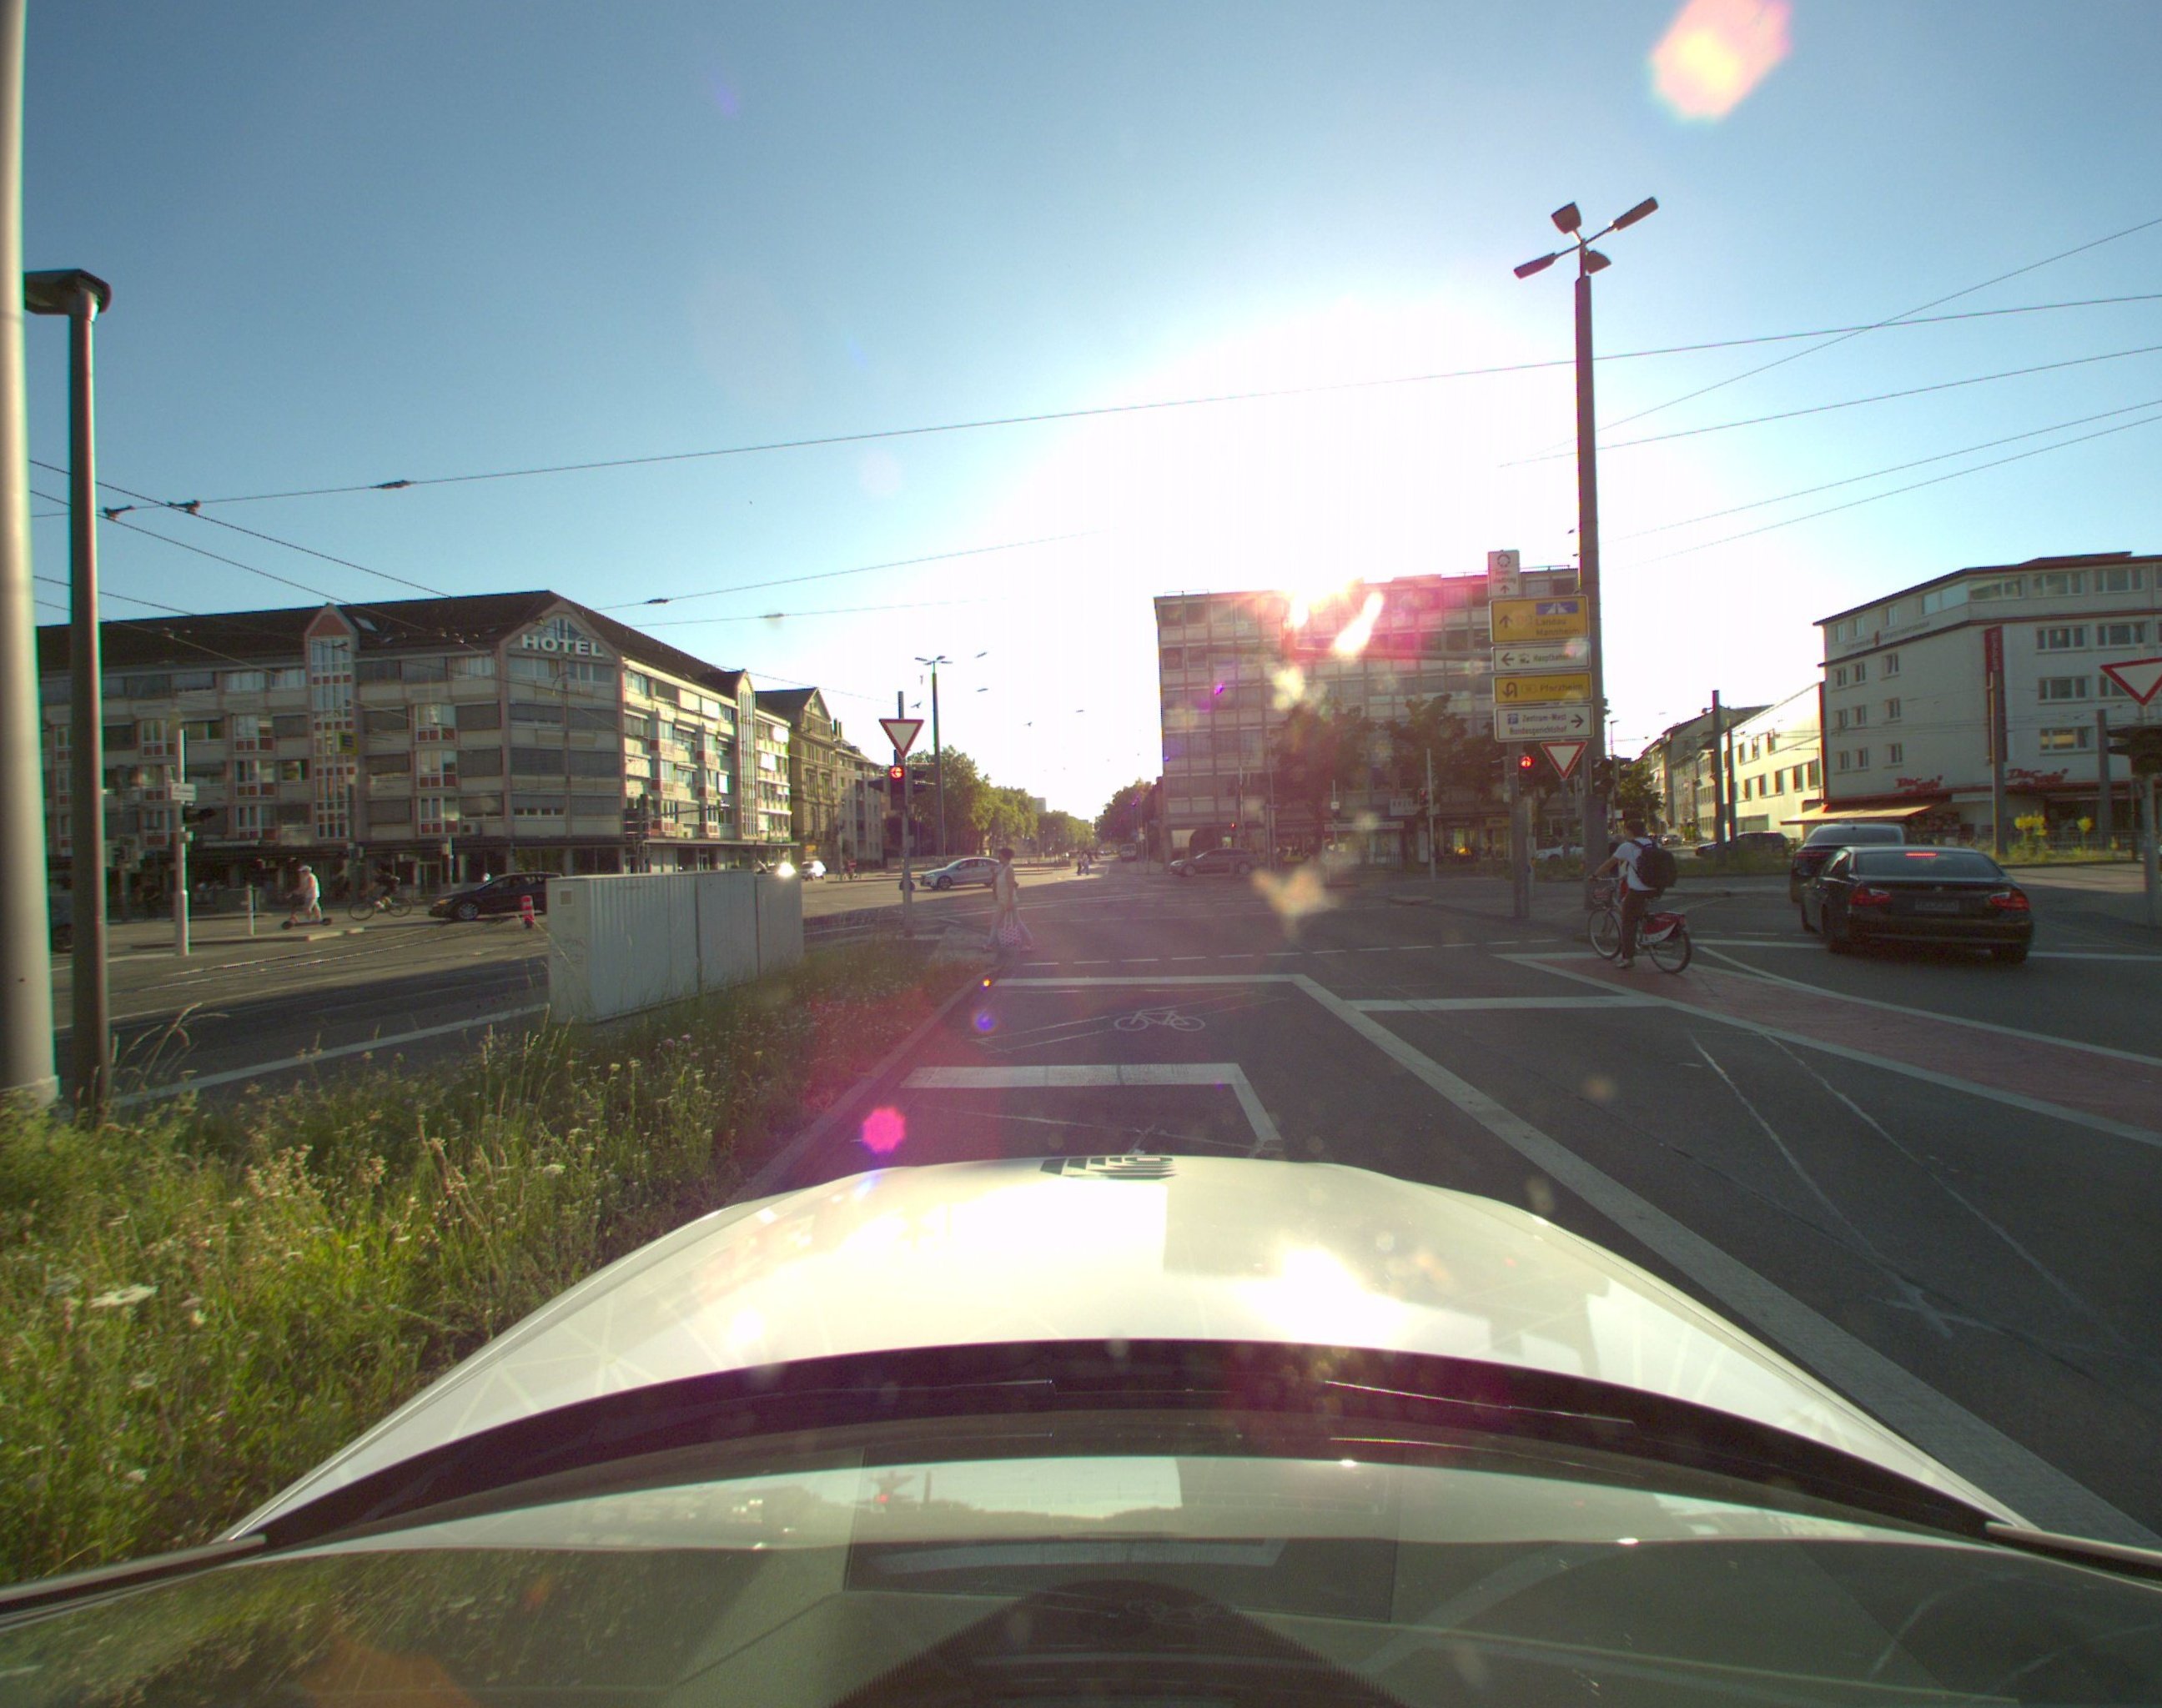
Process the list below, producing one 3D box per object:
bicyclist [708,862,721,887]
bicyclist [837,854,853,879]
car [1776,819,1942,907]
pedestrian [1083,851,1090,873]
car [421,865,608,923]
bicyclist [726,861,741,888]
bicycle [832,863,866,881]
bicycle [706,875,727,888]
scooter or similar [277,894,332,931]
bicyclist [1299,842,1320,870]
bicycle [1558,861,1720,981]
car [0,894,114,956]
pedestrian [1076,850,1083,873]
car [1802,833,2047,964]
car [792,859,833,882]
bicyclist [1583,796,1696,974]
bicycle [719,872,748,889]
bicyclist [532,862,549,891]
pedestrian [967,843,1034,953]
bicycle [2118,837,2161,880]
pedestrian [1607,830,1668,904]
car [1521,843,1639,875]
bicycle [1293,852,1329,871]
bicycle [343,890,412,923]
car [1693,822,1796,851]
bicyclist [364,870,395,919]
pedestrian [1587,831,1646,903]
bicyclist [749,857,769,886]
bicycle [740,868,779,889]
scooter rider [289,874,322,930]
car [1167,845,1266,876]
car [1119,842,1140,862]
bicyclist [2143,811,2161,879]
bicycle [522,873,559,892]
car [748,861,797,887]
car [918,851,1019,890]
[{"bbox_3d":[-27.663,1.563,61.430,0.590,1.862,0.642,-3,0,3],"label":"bicyclist"},{"bbox_3d":[-16.491,0.870,56.950,0.896,1.752,0.650,-3,0,-2],"label":"bicyclist"},{"bbox_3d":[16.975,0.115,17.721,4.018,1.693,1.978,-2,2,-37],"label":"car"},{"bbox_3d":[0.380,0.535,55.800,0.365,1.508,0.542,-2,0,-5],"label":"pedestrian"},{"bbox_3d":[-18.939,1.283,27.401,1.975,1.596,4.809,-3,0,44],"label":"car"},{"bbox_3d":[-26.442,1.580,62.003,0.771,2.013,0.606,-2,0,11],"label":"bicyclist"},{"bbox_3d":[-16.236,1.262,56.965,2.168,1.137,0.658,-3,0,-3],"label":"bicycle"},{"bbox_3d":[-27.491,2.053,61.497,0.596,0.915,1.838,-3,0,4],"label":"bicycle"},{"bbox_3d":[-24.723,1.857,25.929,0.523,1.072,1.183,-3,0,41],"label":"scooter or similar"},{"bbox_3d":[14.104,0.122,50.291,1.037,1.739,0.677,-2,0,-2],"label":"bicyclist"},{"bbox_3d":[6.641,0.737,9.844,0.642,1.223,2.050,0,2,3],"label":"bicycle"},{"bbox_3d":[-25.289,1.697,18.415,1.824,1.288,4.023,-2,0,25],"label":"car"},{"bbox_3d":[-0.097,0.519,54.469,0.365,1.508,0.542,-2,0,-5],"label":"pedestrian"},{"bbox_3d":[11.057,0.469,10.981,1.727,1.426,4.026,-2,0,38],"label":"car"},{"bbox_3d":[-24.077,1.481,73.108,1.984,1.859,4.005,-3,0,4],"label":"car"},{"bbox_3d":[6.643,0.339,9.740,0.641,2.013,1.068,0,1,3],"label":"bicyclist"},{"bbox_3d":[-26.468,1.997,62.012,1.948,1.201,0.612,-2,0,11],"label":"bicycle"},{"bbox_3d":[-32.573,1.367,49.076,0.663,1.712,0.537,-2,0,-8],"label":"bicyclist"},{"bbox_3d":[-1.222,0.652,12.460,0.875,1.597,0.655,-2,0,1],"label":"pedestrian"},{"bbox_3d":[26.980,0.084,19.909,2.215,1.026,0.683,-2,0,5],"label":"bicycle"},{"bbox_3d":[12.432,0.283,18.209,0.876,1.597,0.655,-2,0,0],"label":"pedestrian"},{"bbox_3d":[26.154,0.268,42.831,4.898,1.479,2.002,-2,0,3],"label":"car"},{"bbox_3d":[14.187,0.444,50.296,1.967,1.098,0.677,-2,0,-2],"label":"bicycle"},{"bbox_3d":[-25.413,1.881,29.460,0.528,1.072,1.793,-3,0,30],"label":"bicycle"},{"bbox_3d":[36.478,-0.943,44.846,3.968,1.420,2.003,-2,0,5],"label":"car"},{"bbox_3d":[-25.409,1.464,29.512,0.531,1.712,0.670,-3,0,30],"label":"bicyclist"},{"bbox_3d":[12.473,0.298,18.985,0.876,1.597,0.655,-2,0,0],"label":"pedestrian"},{"bbox_3d":[-19.743,1.079,49.877,0.896,1.752,0.654,-3,0,-2],"label":"bicyclist"},{"bbox_3d":[-19.686,1.482,49.876,2.089,1.137,0.658,-3,0,-3],"label":"bicycle"},{"bbox_3d":[-24.716,1.528,25.955,0.520,1.712,0.670,-3,0,41],"label":"scooter rider"},{"bbox_3d":[7.181,0.341,43.550,4.906,1.479,1.999,-2,0,-2],"label":"car"},{"bbox_3d":[6.403,-0.299,107.598,2.477,2.392,5.936,-4,0,2],"label":"car"},{"bbox_3d":[26.932,-0.229,19.917,0.954,1.661,0.692,-2,0,5],"label":"bicyclist"},{"bbox_3d":[-32.552,1.696,49.077,1.731,1.059,0.538,-3,0,-8],"label":"bicycle"},{"bbox_3d":[-24.453,1.568,64.721,1.984,1.859,4.005,-3,0,4],"label":"car"},{"bbox_3d":[-5.354,0.740,38.647,4.350,1.596,1.985,-3,0,-23],"label":"car"}]
